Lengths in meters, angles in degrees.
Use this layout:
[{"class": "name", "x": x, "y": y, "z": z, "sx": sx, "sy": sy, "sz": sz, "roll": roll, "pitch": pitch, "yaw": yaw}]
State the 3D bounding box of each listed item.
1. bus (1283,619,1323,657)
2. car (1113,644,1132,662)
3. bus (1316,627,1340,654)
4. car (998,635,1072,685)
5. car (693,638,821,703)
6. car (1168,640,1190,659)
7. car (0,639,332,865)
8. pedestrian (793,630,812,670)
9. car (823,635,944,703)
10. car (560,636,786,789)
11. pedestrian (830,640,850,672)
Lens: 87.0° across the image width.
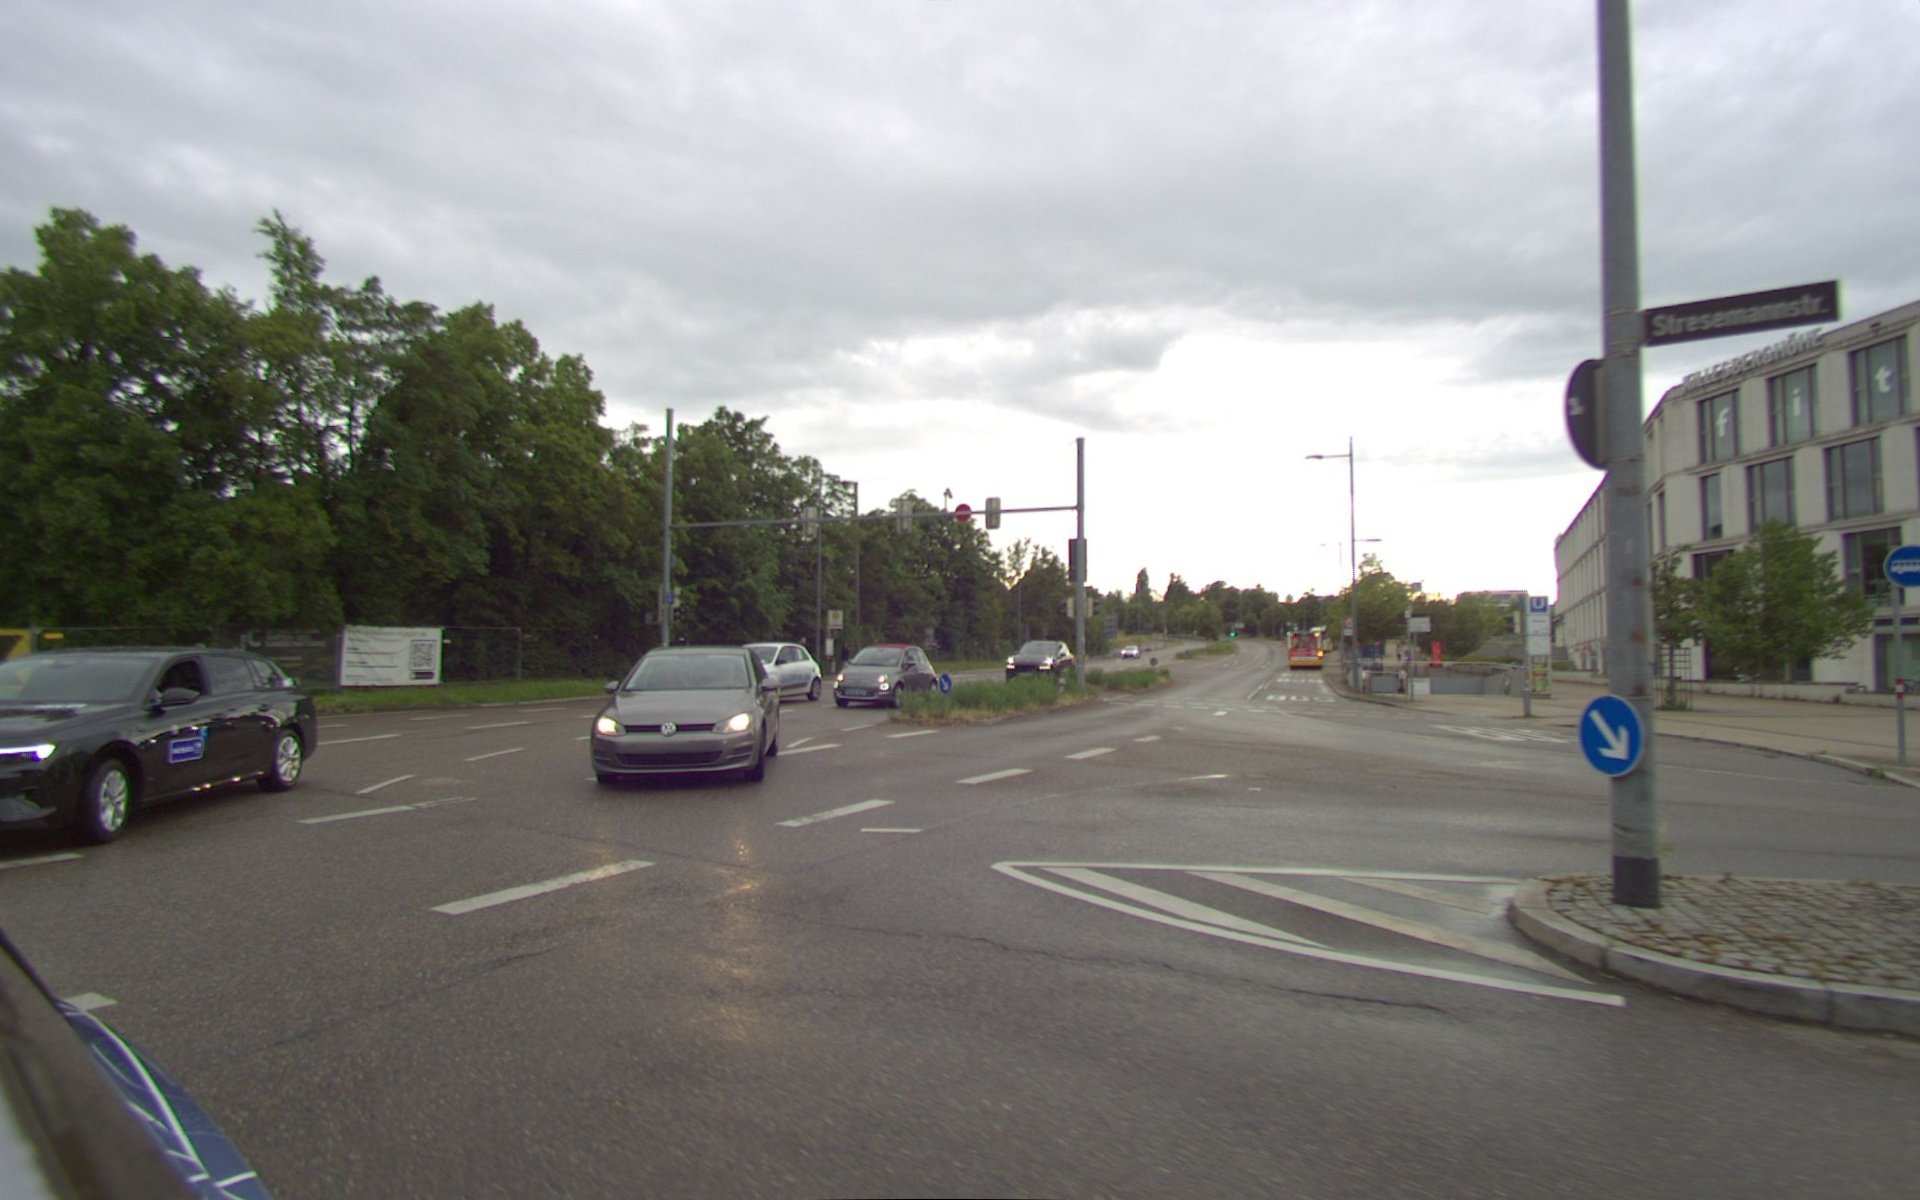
[{"class": "bus", "x": 29.004, "y": 3.243, "z": 85.451, "sx": 2.860, "sy": 3.012, "sz": 9.940, "roll": -2, "pitch": -3, "yaw": 19}, {"class": "car", "x": 19.536, "y": 6.366, "z": 121.568, "sx": 1.980, "sy": 2.029, "sz": 3.982, "roll": 0, "pitch": -3, "yaw": 13}, {"class": "bus", "x": 50.687, "y": 5.625, "z": 139.476, "sx": 2.795, "sy": 3.543, "sz": 9.084, "roll": -1, "pitch": -3, "yaw": 19}, {"class": "car", "x": 2.943, "y": 2.268, "z": 38.864, "sx": 1.892, "sy": 1.785, "sz": 3.975, "roll": -1, "pitch": -3, "yaw": 19}, {"class": "car", "x": -5.086, "y": 1.756, "z": 25.807, "sx": 1.633, "sy": 1.532, "sz": 3.557, "roll": -1, "pitch": -3, "yaw": 19}, {"class": "car", "x": 24.389, "y": 5.488, "z": 112.599, "sx": 1.982, "sy": 2.029, "sz": 3.978, "roll": -2, "pitch": -3, "yaw": 16}, {"class": "car", "x": -7.338, "y": 1.108, "z": 8.566, "sx": 1.777, "sy": 1.441, "sz": 4.527, "roll": -1, "pitch": -3, "yaw": -8}, {"class": "pedestrian", "x": -7.655, "y": 2.440, "z": 49.304, "sx": 0.672, "sy": 1.898, "sz": 0.695, "roll": -1, "pitch": -3, "yaw": 20}, {"class": "car", "x": -1.812, "y": 1.649, "z": 25.000, "sx": 1.659, "sy": 1.541, "sz": 3.632, "roll": -1, "pitch": -3, "yaw": 20}, {"class": "car", "x": -3.109, "y": 1.200, "z": 11.794, "sx": 1.876, "sy": 1.450, "sz": 4.005, "roll": 0, "pitch": -4, "yaw": -6}, {"class": "pedestrian", "x": -6.499, "y": 3.031, "z": 54.720, "sx": 0.816, "sy": 1.688, "sz": 0.826, "roll": -1, "pitch": -3, "yaw": 20}]
